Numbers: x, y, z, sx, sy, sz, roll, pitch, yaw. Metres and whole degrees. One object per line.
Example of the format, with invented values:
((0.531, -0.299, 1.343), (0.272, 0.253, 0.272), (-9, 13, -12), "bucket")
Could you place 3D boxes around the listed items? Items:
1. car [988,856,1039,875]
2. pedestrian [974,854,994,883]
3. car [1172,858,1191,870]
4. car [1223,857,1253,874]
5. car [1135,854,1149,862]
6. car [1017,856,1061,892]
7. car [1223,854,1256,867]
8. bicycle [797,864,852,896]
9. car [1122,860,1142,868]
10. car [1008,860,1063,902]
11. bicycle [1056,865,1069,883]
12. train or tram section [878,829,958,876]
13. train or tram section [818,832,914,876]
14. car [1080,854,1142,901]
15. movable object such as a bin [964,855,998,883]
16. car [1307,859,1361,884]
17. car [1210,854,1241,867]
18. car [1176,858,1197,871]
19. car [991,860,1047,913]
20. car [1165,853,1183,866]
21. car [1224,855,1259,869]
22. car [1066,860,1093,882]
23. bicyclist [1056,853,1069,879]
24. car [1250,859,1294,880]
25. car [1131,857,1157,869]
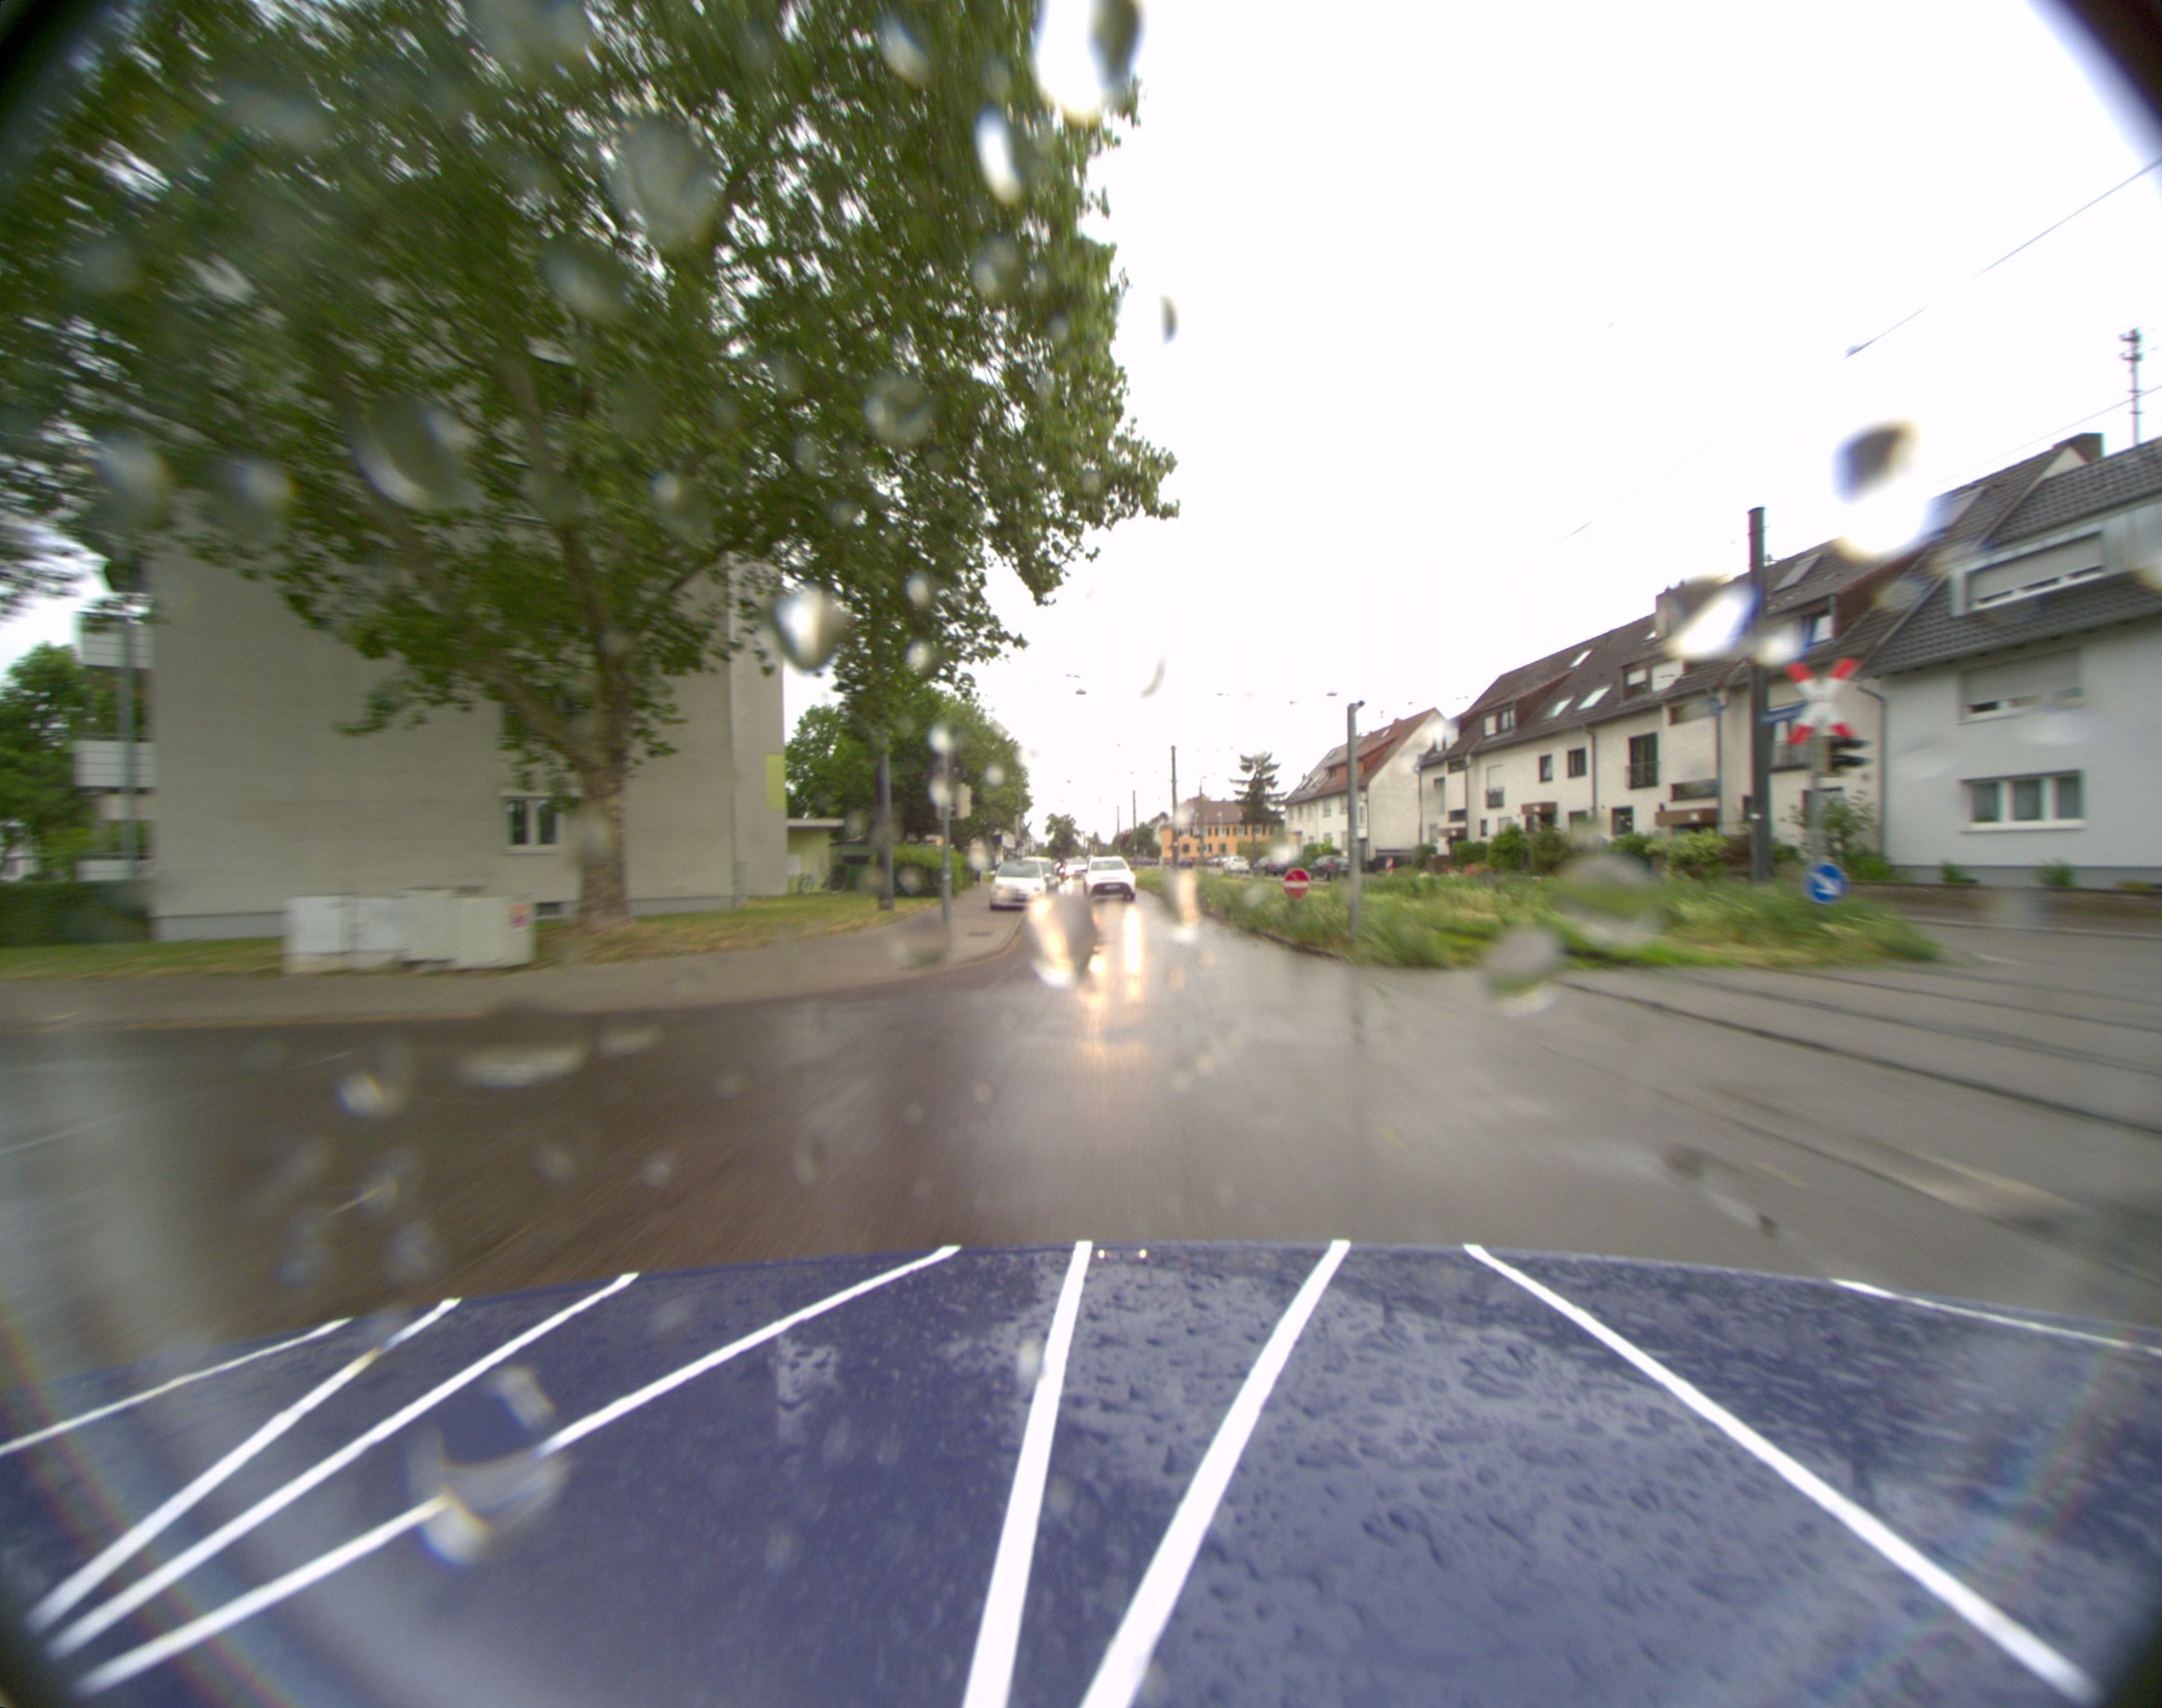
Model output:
((-5.718, 0.979, 64.672), (4.007, 1.518, 1.715), (0, 0, -34), "car")
((-6.090, 0.906, 47.804), (1.020, 1.764, 0.863), (-1, 0, -25), "pedestrian")
((13.179, 1.313, 100.234), (1.882, 1.520, 3.999), (0, 0, -2), "car")
((13.981, 1.034, 67.853), (1.715, 1.431, 3.999), (0, 0, -3), "car")
((11.458, 0.697, 142.070), (2.097, 1.423, 4.076), (0, 0, -3), "car")
((-1.935, 0.873, 35.310), (1.905, 1.565, 4.111), (0, 0, -3), "car")
((20.573, 0.828, 98.706), (3.995, 1.586, 1.914), (-2, 0, 6), "car")
((-9.513, 0.953, 28.183), (1.864, 1.135, 0.532), (-1, 0, -26), "bicycle")
((10.809, 2.127, 160.882), (3.999, 1.637, 1.893), (0, 0, -5), "car")
((-1.698, 0.955, 28.702), (1.905, 1.440, 4.183), (0, 0, -3), "car")
((-1.086, 1.154, 44.828), (0.711, 1.031, 2.098), (-1, 0, -2), "bicycle")
((-12.134, -0.066, 56.259), (6.382, 3.320, 2.763), (-1, 0, 45), "train or tram section")
((-17.614, 0.027, 61.717), (10.322, 3.320, 2.763), (-1, 0, 45), "train or tram section")
((0.987, 0.793, 27.112), (1.854, 1.500, 4.119), (-2, 0, -2), "car")
((-5.315, 0.788, 40.181), (1.155, 1.432, 1.472), (0, 0, -41), "movable object such as a bin")
((14.589, 0.976, 44.037), (1.777, 1.417, 3.937), (0, 0, -1), "car")
((19.411, 0.916, 101.977), (3.993, 1.586, 1.915), (-2, 0, 12), "car")
((13.259, 1.279, 95.553), (1.912, 1.581, 3.999), (0, 0, -2), "car")
((-1.866, 0.959, 23.859), (1.562, 1.510, 3.999), (0, 0, -2), "car")
((13.353, 0.788, 109.142), (1.998, 1.648, 4.000), (-2, 0, 0), "car")
((20.247, 1.010, 95.938), (3.997, 1.586, 1.913), (-2, 0, 0), "car")
((-0.149, 1.224, 56.084), (1.854, 1.500, 4.119), (0, 0, -2), "car")
((-1.097, 0.726, 44.864), (0.711, 1.503, 0.715), (0, 0, -2), "bicyclist")
((14.185, 1.149, 56.674), (1.892, 1.522, 4.755), (0, 0, -3), "car")
((9.853, 1.352, 119.444), (3.996, 1.712, 1.673), (-2, 0, 2), "car")
